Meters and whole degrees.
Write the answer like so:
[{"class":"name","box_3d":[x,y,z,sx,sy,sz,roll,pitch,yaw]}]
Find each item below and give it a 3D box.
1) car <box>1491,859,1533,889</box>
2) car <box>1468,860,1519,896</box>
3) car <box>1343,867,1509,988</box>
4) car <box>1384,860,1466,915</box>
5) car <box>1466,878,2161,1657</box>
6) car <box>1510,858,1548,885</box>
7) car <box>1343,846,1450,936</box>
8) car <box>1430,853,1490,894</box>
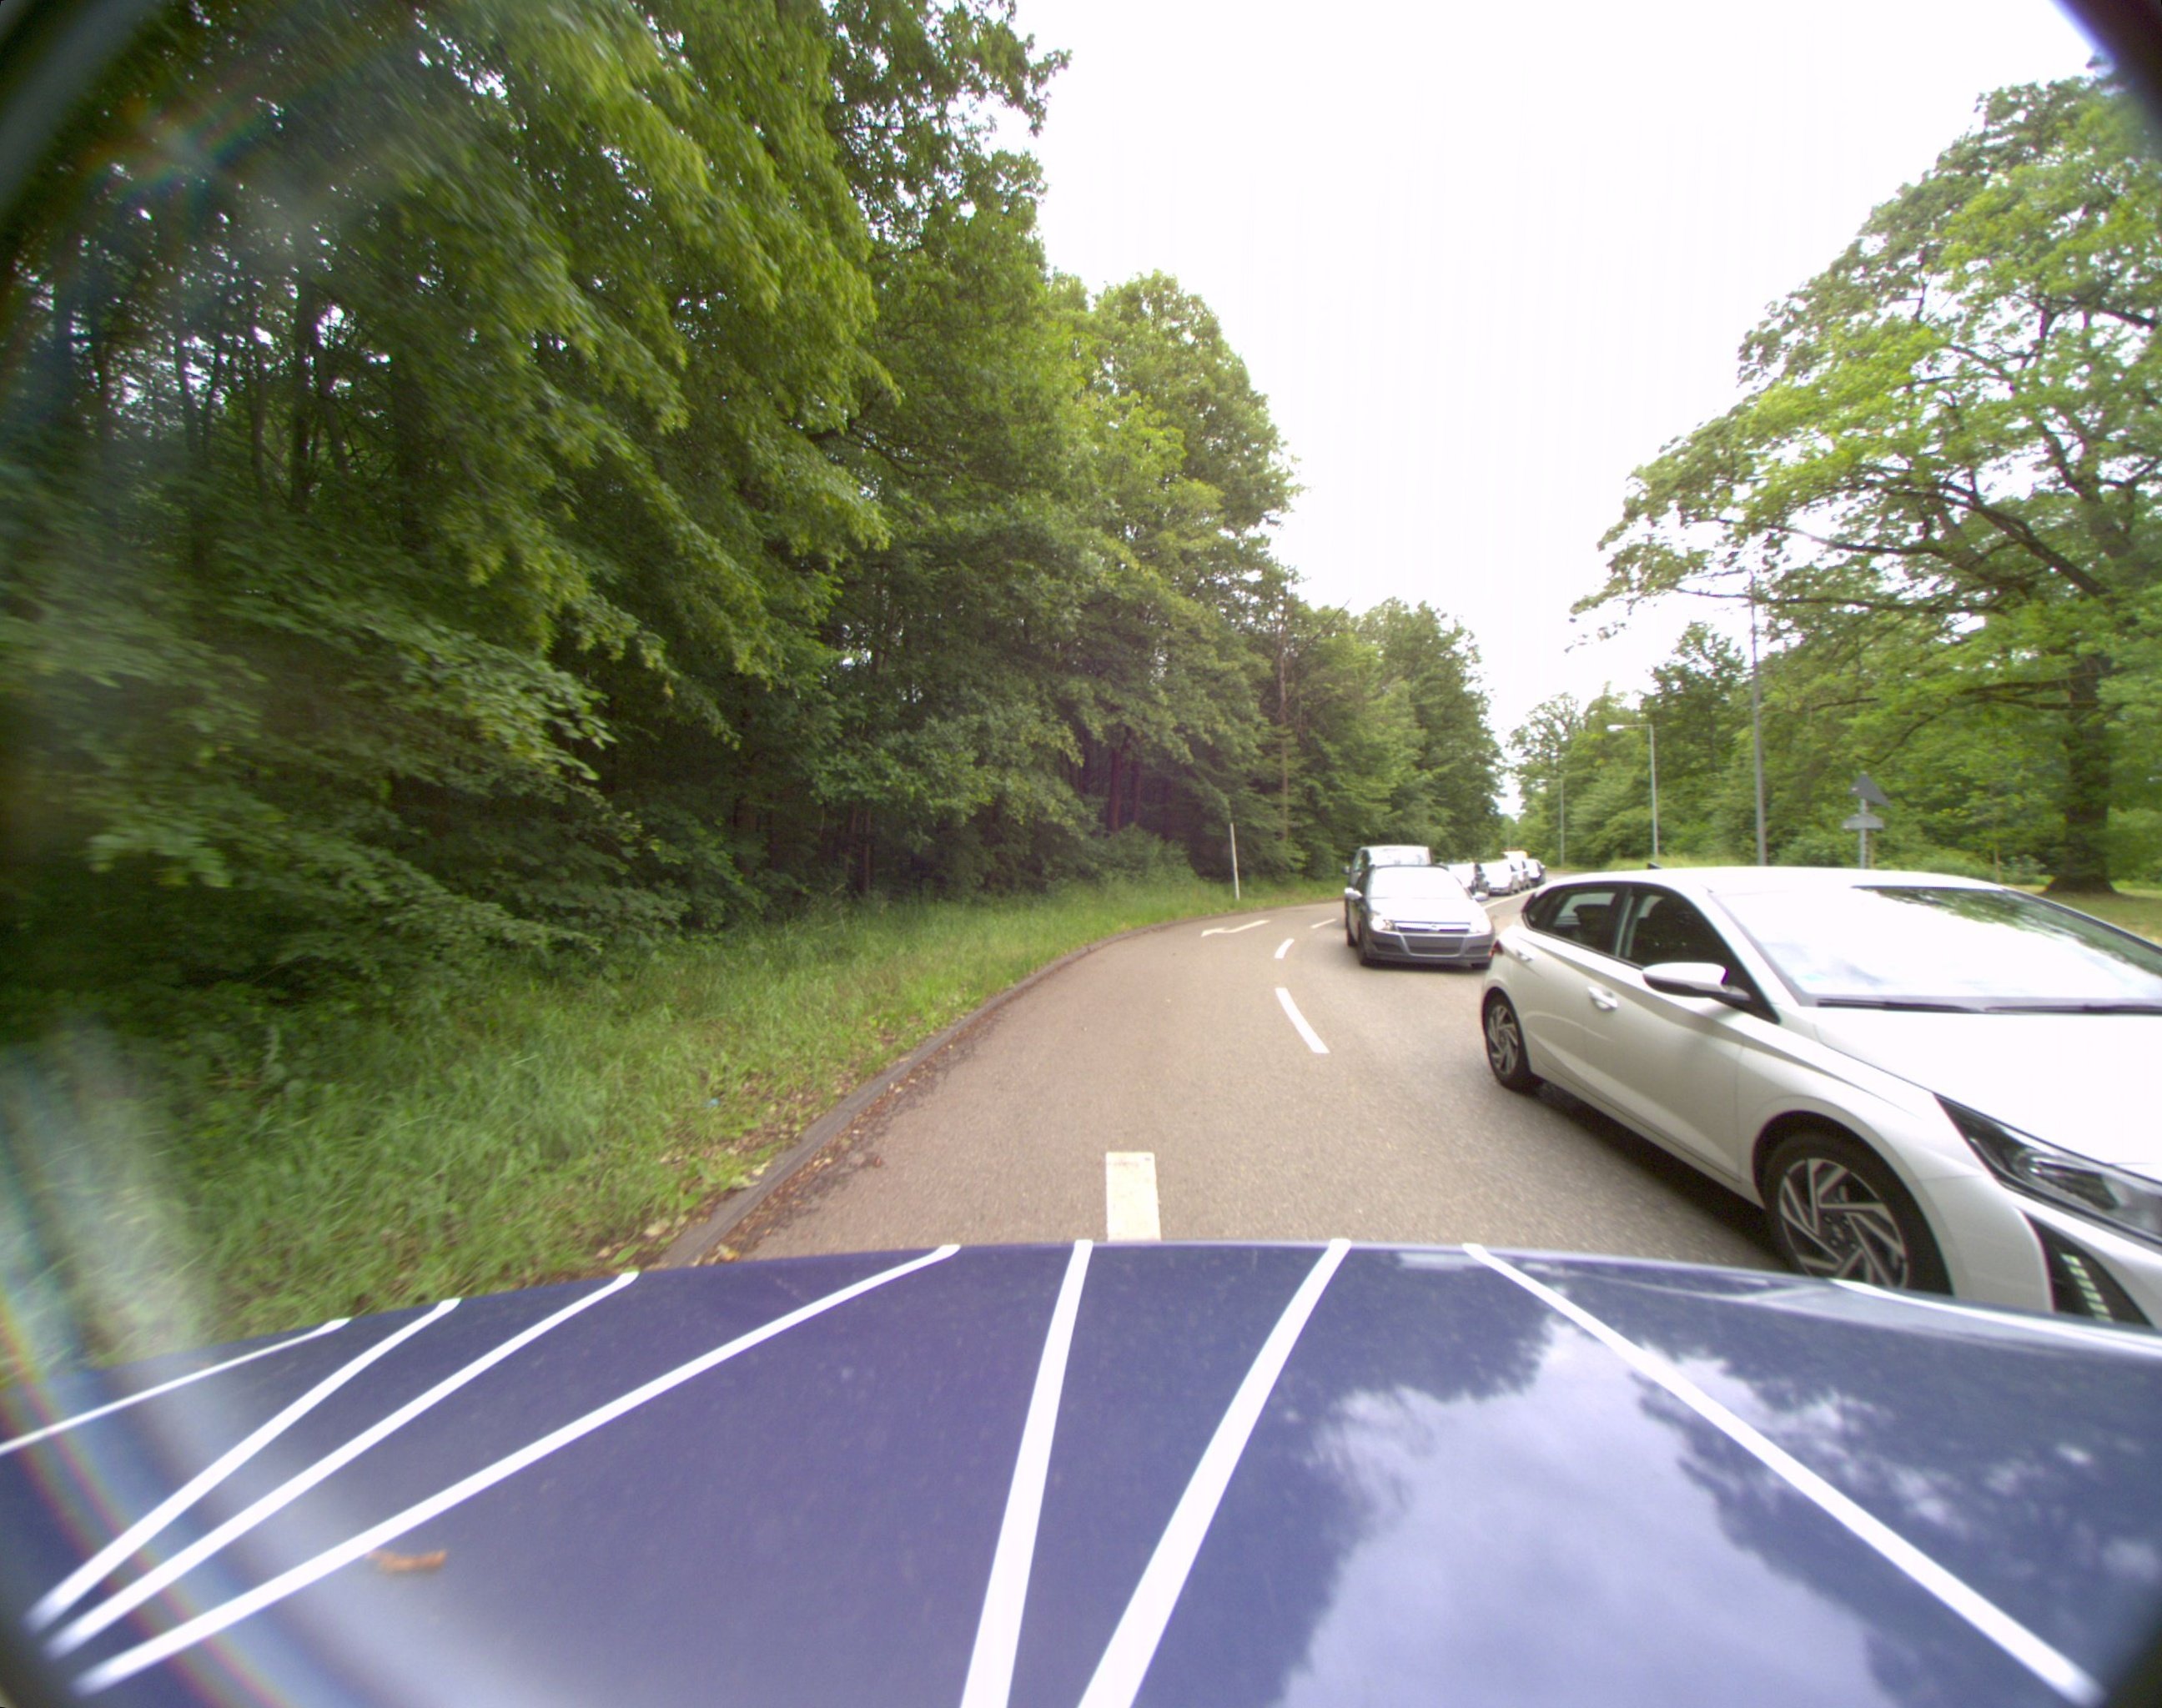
[{"class":"car","box_3d":[22.278,0.996,39.216,1.775,1.491,3.881,-1,-1,31]},{"class":"car","box_3d":[18.323,1.017,33.666,1.775,1.491,3.881,-1,-1,31]},{"class":"car","box_3d":[5.141,0.963,11.900,1.800,1.470,4.476,0,-1,17]},{"class":"car","box_3d":[11.625,1.071,25.541,1.789,1.664,3.999,-1,-1,35]},{"class":"car","box_3d":[3.290,0.886,3.365,1.652,1.470,4.076,0,-1,9]},{"class":"car","box_3d":[25.662,0.957,43.494,1.775,1.491,3.881,-1,-1,31]},{"class":"car","box_3d":[7.618,0.786,18.089,1.986,1.861,4.540,0,-1,27]},{"class":"car","box_3d":[14.935,0.732,29.858,1.775,1.491,3.881,-1,-1,31]}]
